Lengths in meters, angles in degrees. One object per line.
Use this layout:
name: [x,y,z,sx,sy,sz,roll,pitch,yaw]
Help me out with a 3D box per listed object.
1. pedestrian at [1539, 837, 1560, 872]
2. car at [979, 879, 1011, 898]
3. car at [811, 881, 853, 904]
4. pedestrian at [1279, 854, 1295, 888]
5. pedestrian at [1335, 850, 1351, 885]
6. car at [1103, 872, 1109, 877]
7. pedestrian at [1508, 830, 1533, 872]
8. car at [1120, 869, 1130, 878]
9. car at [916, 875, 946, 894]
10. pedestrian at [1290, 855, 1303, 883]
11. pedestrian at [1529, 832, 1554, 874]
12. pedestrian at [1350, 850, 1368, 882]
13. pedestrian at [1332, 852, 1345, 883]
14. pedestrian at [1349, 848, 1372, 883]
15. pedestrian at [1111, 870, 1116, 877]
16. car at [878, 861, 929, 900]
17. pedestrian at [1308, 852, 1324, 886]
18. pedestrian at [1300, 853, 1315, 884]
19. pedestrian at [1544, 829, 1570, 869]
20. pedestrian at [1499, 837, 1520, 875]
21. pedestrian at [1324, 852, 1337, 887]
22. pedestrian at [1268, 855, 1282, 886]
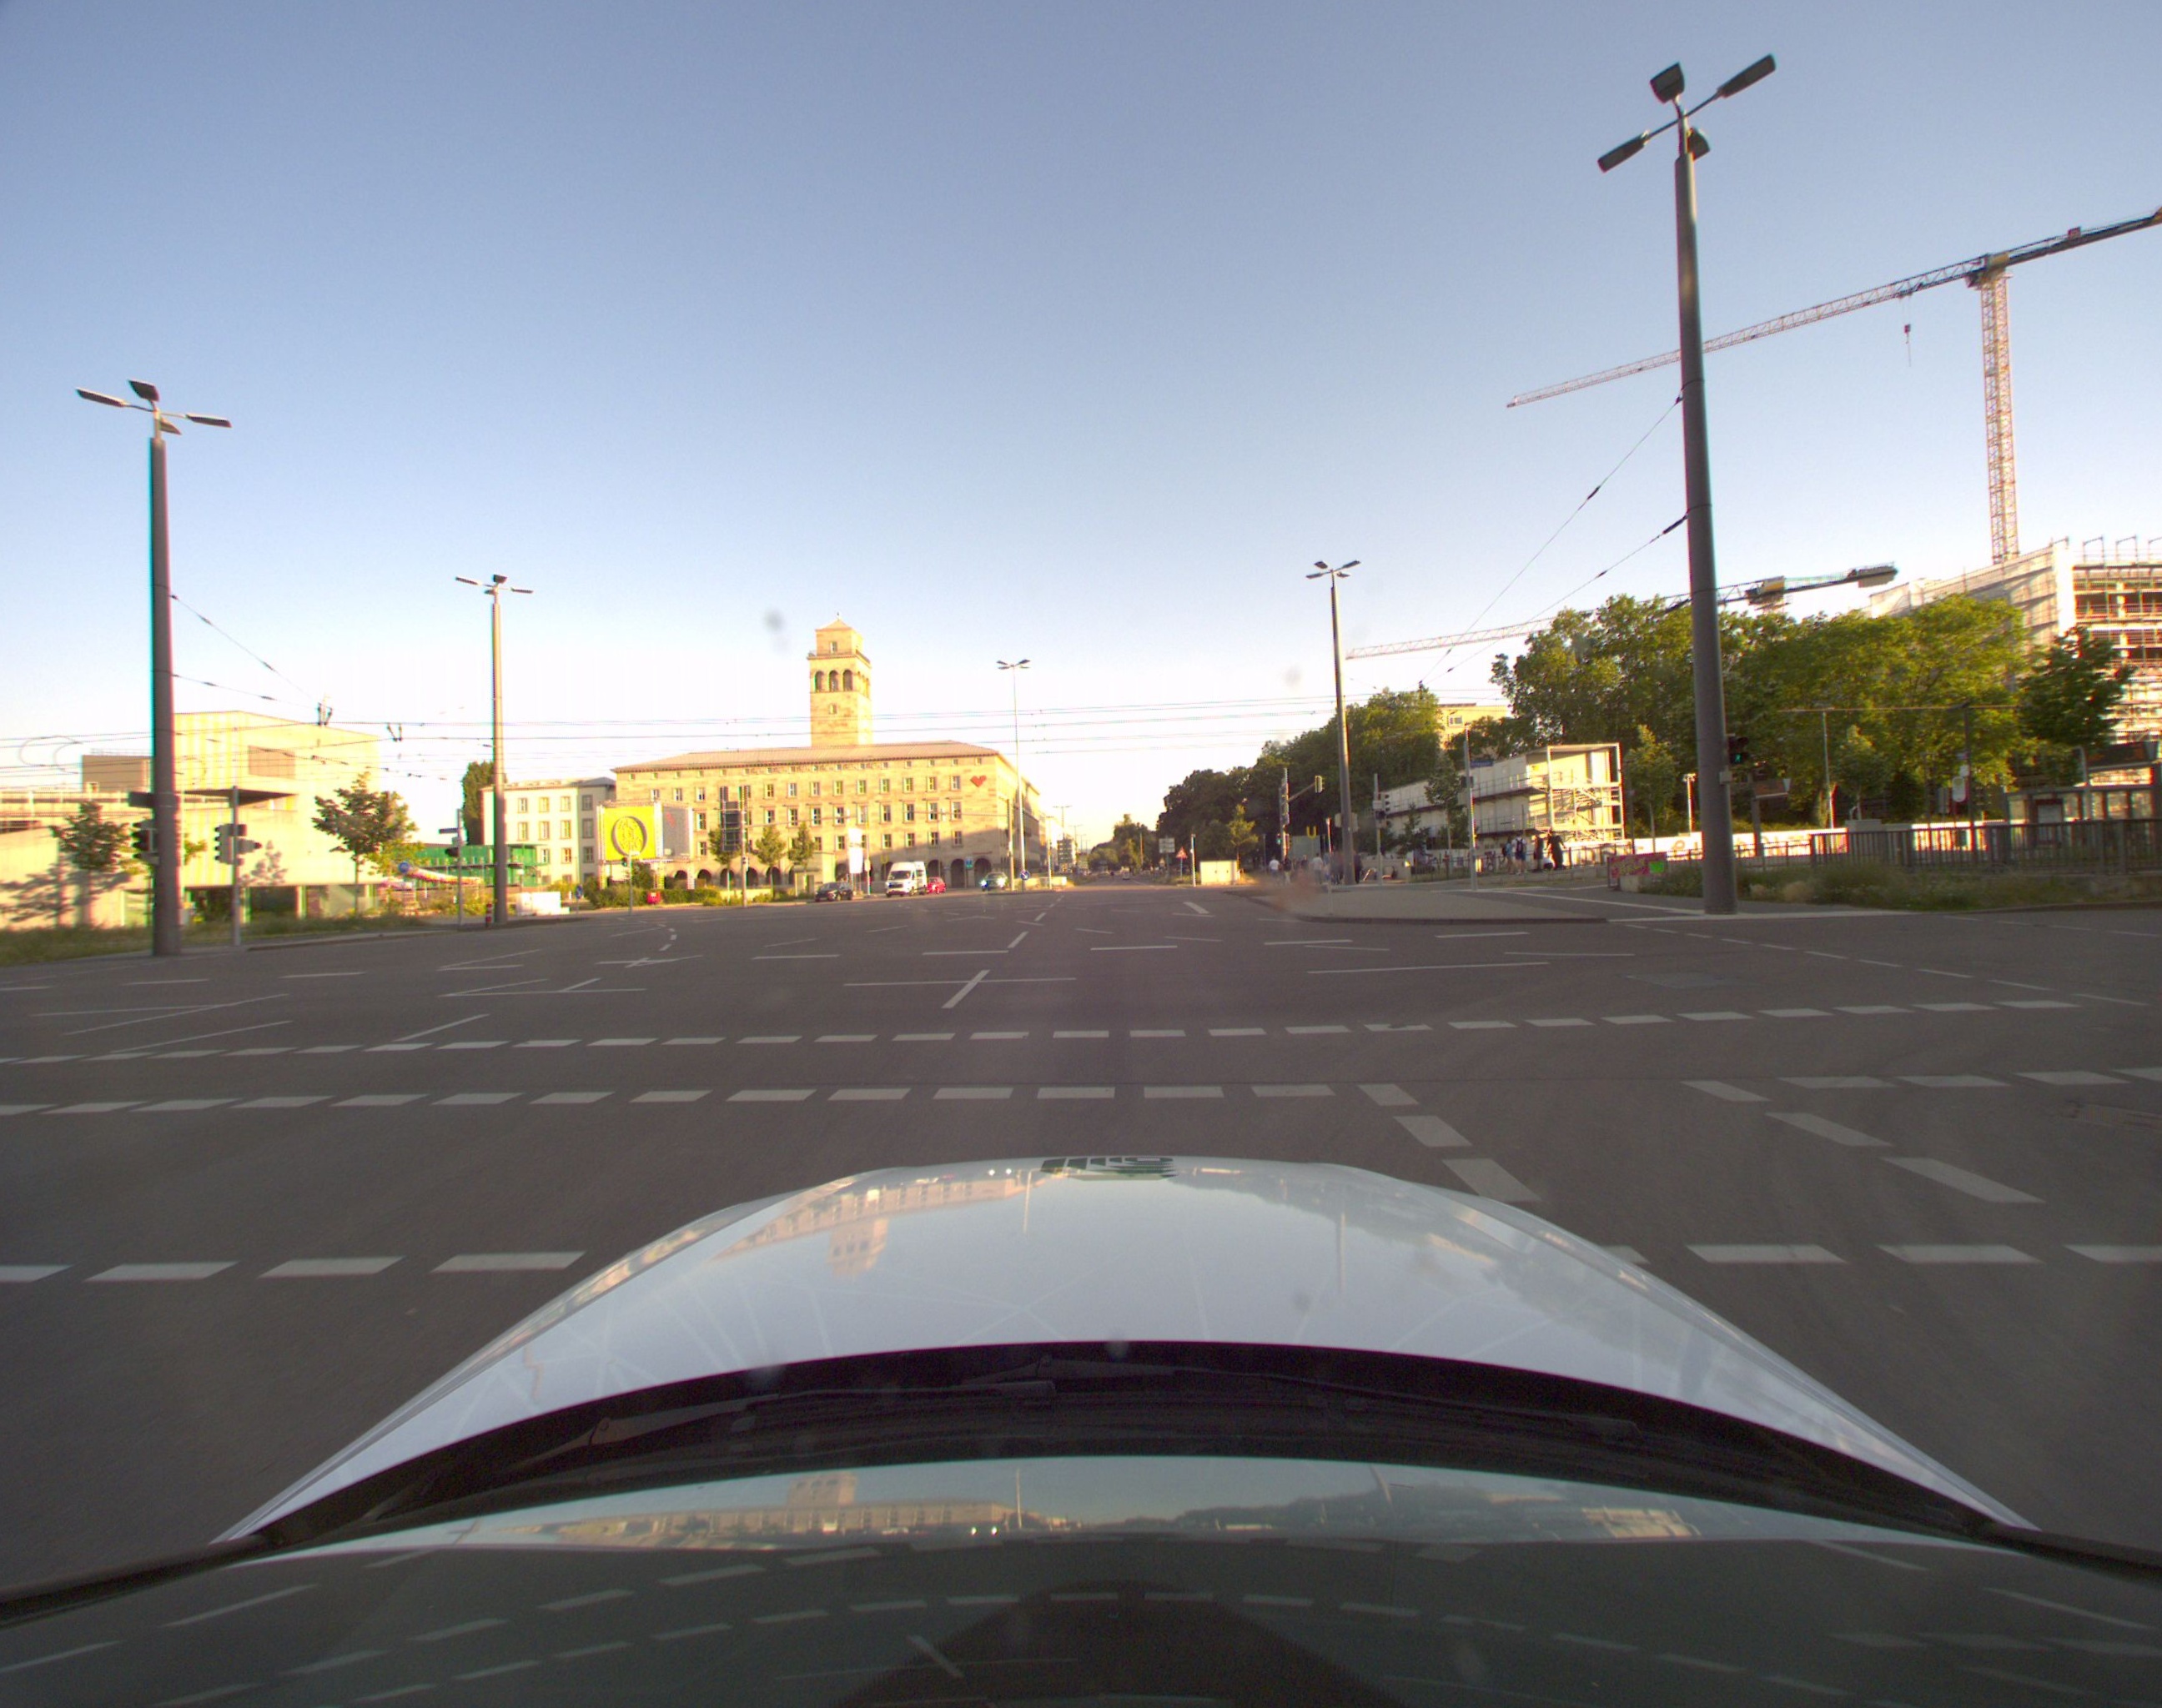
pedestrian: [19.978,0.009,34.742,0.670,1.441,0.718,-3,-1,24]
car: [-6.683,2.667,63.639,1.815,1.342,4.004,-2,-1,4]
car: [-18.747,2.888,61.461,1.817,1.466,4.157,-2,-1,0]
pedestrian: [10.714,0.854,42.376,0.706,1.725,0.918,-2,-1,12]
pedestrian: [13.284,0.661,41.218,0.697,1.734,0.851,-2,-1,18]
car: [6.941,5.611,225.795,1.364,1.234,3.048,-2,-1,4]
pedestrian: [18.561,-0.136,34.395,0.706,1.725,0.670,-2,-1,11]
car: [7.834,3.479,145.499,1.478,1.696,2.974,-2,-1,1]
car: [-13.264,2.716,72.245,1.732,1.487,4.001,-2,-1,2]
pedestrian: [12.887,0.904,48.733,0.555,1.655,0.907,-3,-1,22]
pedestrian: [19.330,-0.053,34.198,0.705,1.725,0.671,-3,-1,19]
pedestrian: [15.766,0.673,46.180,0.800,1.791,0.802,-2,-1,9]
pedestrian: [13.885,0.723,43.971,0.568,1.679,0.641,-2,-1,16]
pedestrian: [14.365,0.585,41.865,0.802,1.791,0.800,-2,-1,0]
pedestrian: [7.392,4.416,185.277,0.903,1.671,1.307,-2,-1,1]
car: [-13.788,2.011,63.706,2.269,2.776,6.089,-2,-1,4]
pedestrian: [12.531,0.793,43.432,0.705,1.725,0.918,-2,-1,15]
pedestrian: [13.474,0.859,48.476,0.673,1.757,0.907,-3,-1,22]
pedestrian: [20.955,-0.218,35.854,0.709,1.725,0.668,-2,-1,-1]
pedestrian: [18.644,0.083,35.435,0.569,1.592,0.536,-2,-1,1]
pedestrian: [12.995,0.797,42.408,0.568,1.791,0.641,-2,-1,16]
pedestrian: [11.133,0.943,46.647,0.705,1.725,0.671,-2,-1,15]
